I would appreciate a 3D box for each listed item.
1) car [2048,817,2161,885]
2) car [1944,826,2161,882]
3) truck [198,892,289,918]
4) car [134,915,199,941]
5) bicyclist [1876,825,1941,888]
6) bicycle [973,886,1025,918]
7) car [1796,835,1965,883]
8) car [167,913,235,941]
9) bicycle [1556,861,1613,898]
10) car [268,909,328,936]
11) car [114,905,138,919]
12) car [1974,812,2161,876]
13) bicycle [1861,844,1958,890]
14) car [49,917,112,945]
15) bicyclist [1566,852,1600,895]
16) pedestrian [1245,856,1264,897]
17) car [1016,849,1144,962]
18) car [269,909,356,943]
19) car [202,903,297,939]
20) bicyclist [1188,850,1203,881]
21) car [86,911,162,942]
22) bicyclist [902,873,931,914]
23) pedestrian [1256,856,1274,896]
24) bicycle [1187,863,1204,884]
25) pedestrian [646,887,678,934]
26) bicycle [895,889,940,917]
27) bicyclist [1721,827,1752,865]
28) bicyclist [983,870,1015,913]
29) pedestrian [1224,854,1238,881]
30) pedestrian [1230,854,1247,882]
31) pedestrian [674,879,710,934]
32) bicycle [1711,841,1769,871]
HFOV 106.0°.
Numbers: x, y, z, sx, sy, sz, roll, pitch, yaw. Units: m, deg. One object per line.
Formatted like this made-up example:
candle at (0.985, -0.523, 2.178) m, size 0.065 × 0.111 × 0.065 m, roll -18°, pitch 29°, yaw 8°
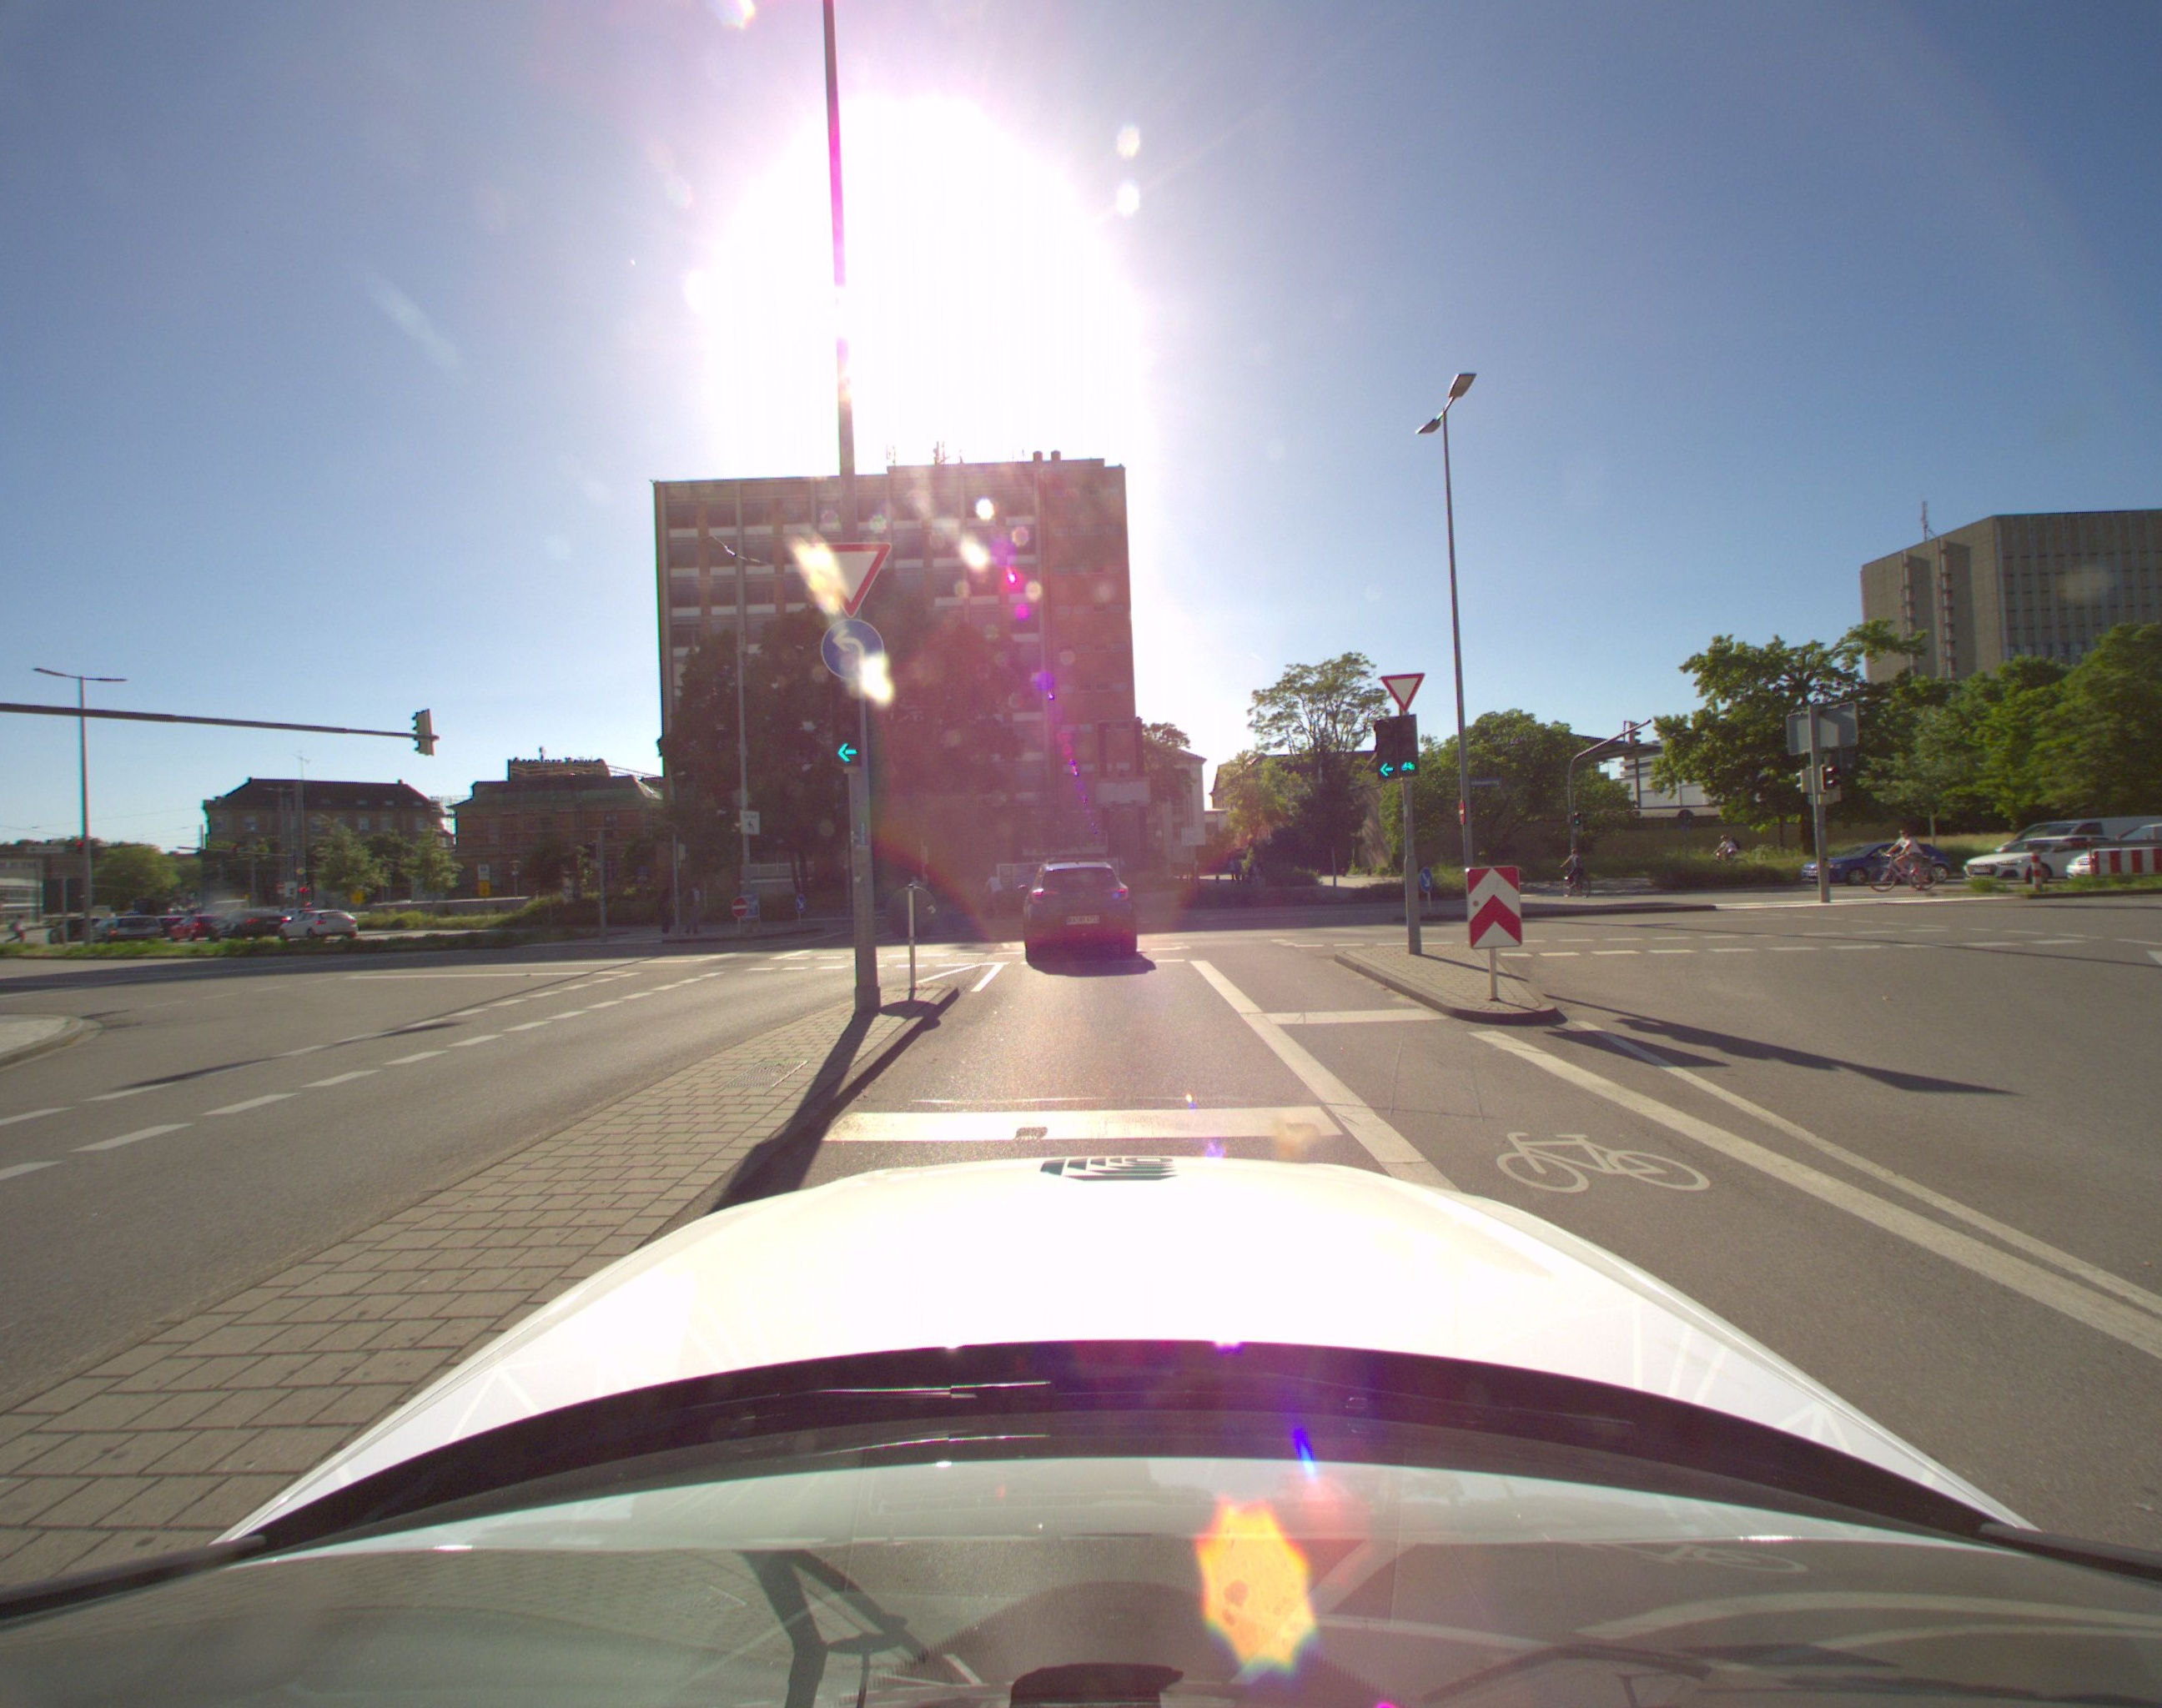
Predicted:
car at (27.609, -0.115, 20.419) m, size 4.281 × 1.625 × 1.792 m, roll -2°, pitch -2°, yaw 4°
car at (29.817, 0.012, 25.122) m, size 3.963 × 1.469 × 2.005 m, roll -3°, pitch -1°, yaw 9°
truck at (-88.731, 5.372, 86.434) m, size 2.205 × 2.313 × 6.889 m, roll -3°, pitch -1°, yaw 3°
car at (-54.322, 4.396, 48.371) m, size 3.750 × 1.443 × 1.741 m, roll -3°, pitch -3°, yaw 29°
bicyclist at (23.569, 0.076, 23.221) m, size 0.970 × 1.685 × 0.747 m, roll -4°, pitch -1°, yaw 3°
bicycle at (-3.222, 1.887, 31.960) m, size 1.848 × 1.165 × 0.722 m, roll -3°, pitch -1°, yaw 20°
car at (27.711, 0.201, 28.332) m, size 3.968 × 1.442 × 1.707 m, roll -2°, pitch -2°, yaw 4°
car at (-48.826, 4.062, 45.168) m, size 3.674 × 1.443 × 1.687 m, roll -3°, pitch -3°, yaw 29°
bicycle at (17.593, 0.869, 28.498) m, size 0.640 × 1.165 × 1.867 m, roll -3°, pitch 1°, yaw -5°
car at (-51.166, 4.476, 53.219) m, size 3.578 × 1.618 × 1.894 m, roll -4°, pitch -3°, yaw 31°
car at (-125.175, 7.576, 106.800) m, size 3.594 × 1.544 × 1.797 m, roll -1°, pitch -1°, yaw 44°
car at (34.336, -0.323, 28.046) m, size 4.719 × 1.953 × 1.941 m, roll -2°, pitch -2°, yaw 4°
bicycle at (23.595, 0.373, 23.217) m, size 1.856 × 1.165 × 0.749 m, roll -4°, pitch -1°, yaw 3°
car at (-55.594, 4.283, 45.252) m, size 3.859 × 1.443 × 1.741 m, roll -4°, pitch -4°, yaw 32°
bicyclist at (17.573, 0.678, 28.514) m, size 0.640 × 1.444 × 0.775 m, roll -3°, pitch 1°, yaw -5°
pedestrian at (7.809, 0.993, 36.586) m, size 0.727 × 1.816 × 0.735 m, roll -1°, pitch -1°, yaw 18°
car at (-0.083, 0.800, 14.329) m, size 1.872 × 1.617 × 3.794 m, roll -3°, pitch 0°, yaw -2°
car at (-37.137, 3.462, 39.356) m, size 3.691 × 1.436 × 1.706 m, roll -3°, pitch -1°, yaw 23°
car at (-43.331, 3.504, 42.439) m, size 4.324 × 1.624 × 2.001 m, roll -3°, pitch -1°, yaw 24°
bicyclist at (6.723, 0.667, 47.892) m, size 0.714 × 1.735 × 0.981 m, roll -3°, pitch -1°, yaw 14°
car at (-49.592, 3.741, 42.205) m, size 3.750 × 1.443 × 1.741 m, roll -3°, pitch -2°, yaw 27°
bicyclist at (-7.225, 1.722, 35.828) m, size 0.965 × 1.763 × 0.726 m, roll -3°, pitch -1°, yaw 31°
pedestrian at (8.420, 0.997, 37.311) m, size 0.727 × 1.782 × 0.735 m, roll -1°, pitch -1°, yaw 18°
bicycle at (6.749, 1.139, 47.938) m, size 0.740 × 1.165 × 1.878 m, roll -3°, pitch -1°, yaw 15°
pedestrian at (-14.785, 1.986, 28.736) m, size 0.710 × 1.612 × 0.686 m, roll -3°, pitch -2°, yaw 26°
bicycle at (-7.189, 2.160, 35.812) m, size 1.846 × 1.165 × 0.753 m, roll -3°, pitch -1°, yaw 30°
bicyclist at (28.845, -0.360, 35.832) m, size 0.826 × 1.595 × 0.632 m, roll -4°, pitch 2°, yaw 2°
bicyclist at (-3.215, 1.460, 31.955) m, size 0.966 × 1.617 × 0.726 m, roll -3°, pitch -1°, yaw 21°
pedestrian at (9.342, 0.854, 50.729) m, size 0.669 × 1.643 × 0.740 m, roll -1°, pitch -1°, yaw 28°
pedestrian at (9.233, 0.808, 47.763) m, size 0.669 × 1.643 × 0.740 m, roll -1°, pitch -1°, yaw 41°
pedestrian at (-13.411, 1.802, 28.124) m, size 0.753 × 1.833 × 1.093 m, roll -2°, pitch -2°, yaw -7°
bicycle at (28.998, 0.088, 35.841) m, size 1.943 × 1.165 × 0.643 m, roll -4°, pitch 1°, yaw 2°
